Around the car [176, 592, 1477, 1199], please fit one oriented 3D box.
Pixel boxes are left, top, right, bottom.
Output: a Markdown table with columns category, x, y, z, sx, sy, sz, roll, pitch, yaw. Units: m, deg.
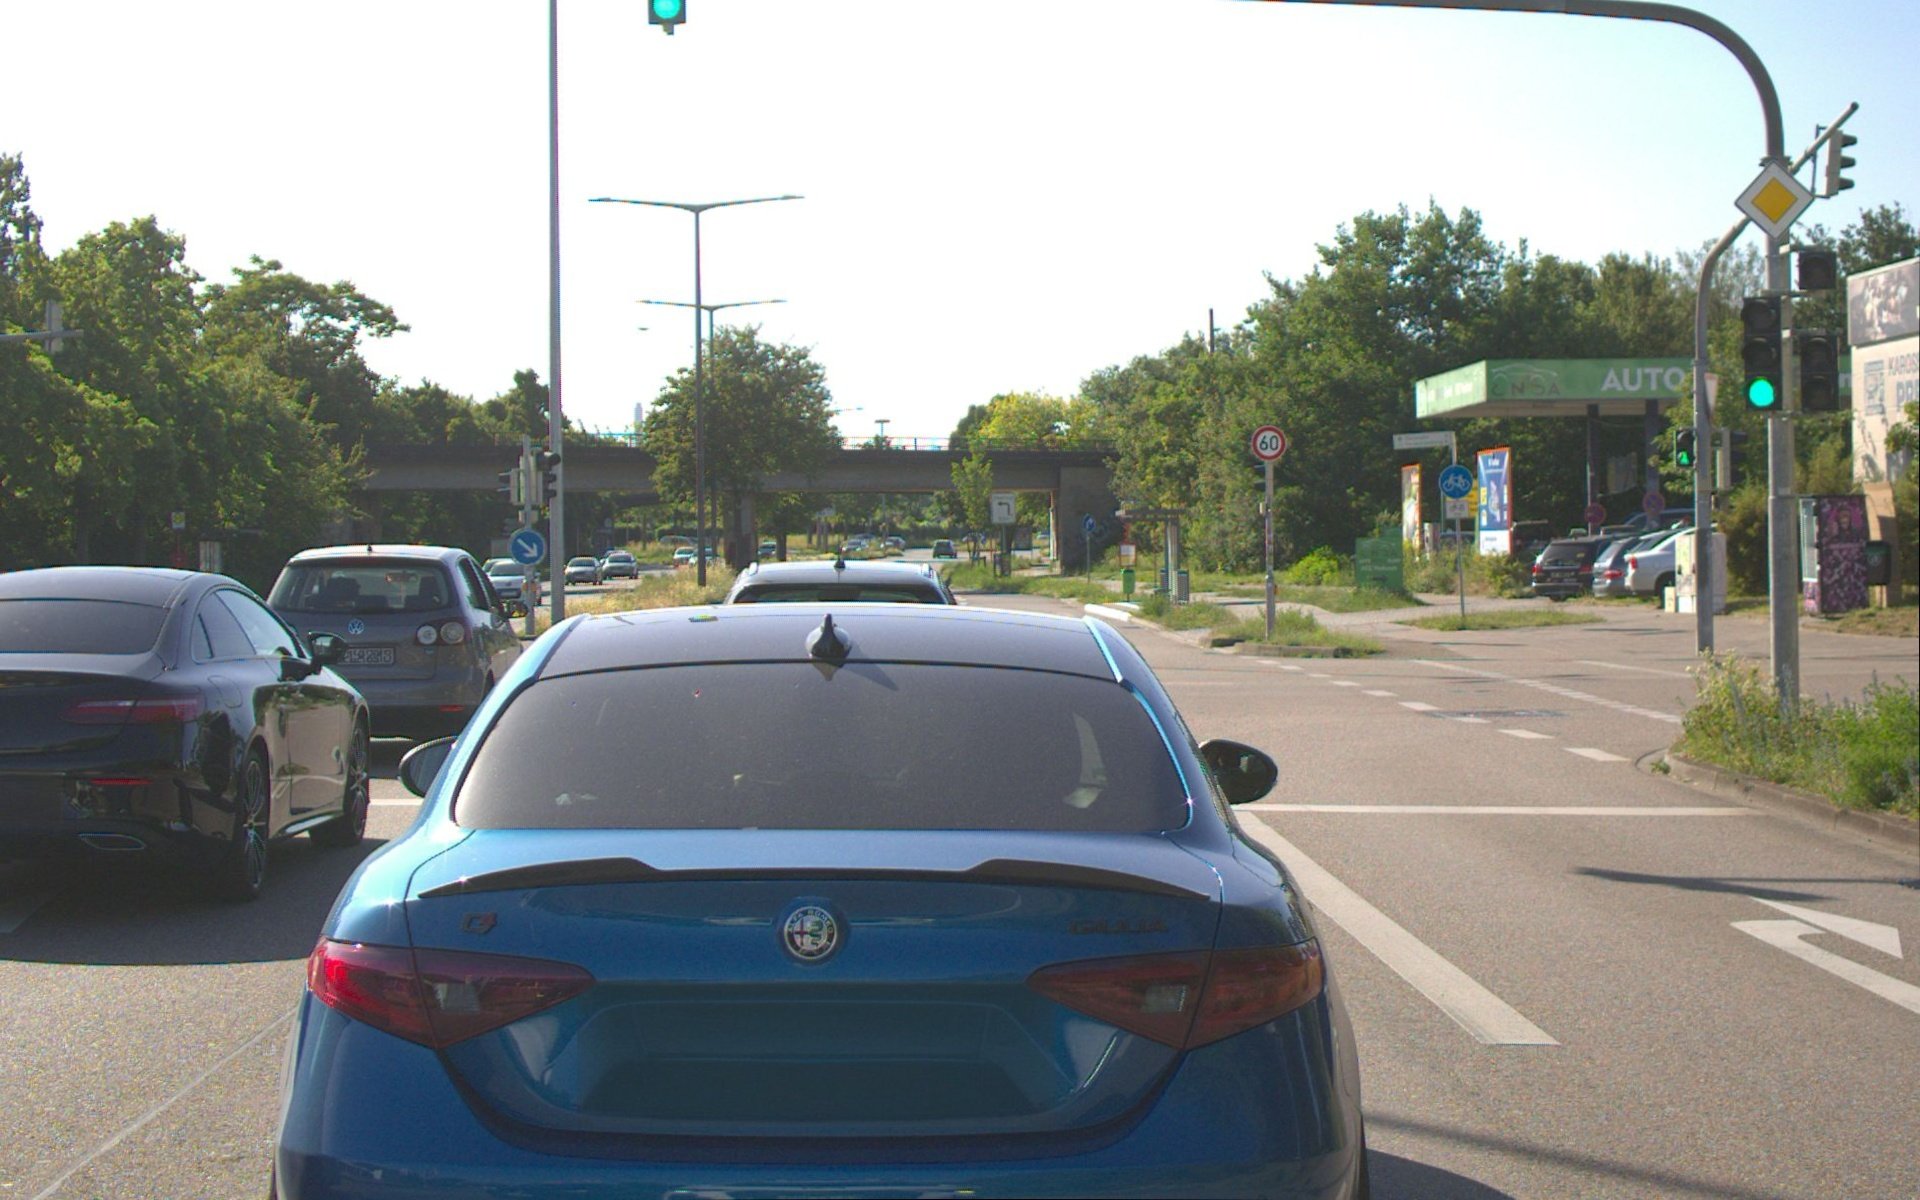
| category | x | y | z | sx | sy | sz | roll | pitch | yaw |
| --- | --- | --- | --- | --- | --- | --- | --- | --- | --- |
| car | -0.257 | 0.707 | 7.245 | 1.895 | 1.413 | 4.403 | 1 | 0 | -2 |

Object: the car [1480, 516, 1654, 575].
| category | x | y | z | sx | sy | sz | roll | pitch | yaw |
| --- | --- | --- | --- | --- | --- | --- | --- | --- | --- |
| car | 17.098 | -1.537 | 96.965 | 4.551 | 1.485 | 1.765 | -2 | 0 | 1 |

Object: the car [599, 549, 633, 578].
| category | x | y | z | sx | sy | sz | roll | pitch | yaw |
| --- | --- | --- | --- | --- | --- | --- | --- | --- | --- |
| car | -19.747 | -2.091 | 197.339 | 1.609 | 1.641 | 3.463 | 1 | 0 | -1 |

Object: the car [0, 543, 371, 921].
| category | x | y | z | sx | sy | sz | roll | pitch | yaw |
| --- | --- | --- | --- | --- | --- | --- | --- | --- | --- |
| car | -3.952 | 0.508 | 15.859 | 1.796 | 1.485 | 4.476 | 1 | 0 | -2 |

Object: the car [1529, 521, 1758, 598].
| category | x | y | z | sx | sy | sz | roll | pitch | yaw |
| --- | --- | --- | --- | --- | --- | --- | --- | --- | --- |
| car | 14.578 | -0.859 | 73.513 | 4.489 | 1.449 | 1.858 | -2 | 0 | 1 |

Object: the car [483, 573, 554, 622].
| category | x | y | z | sx | sy | sz | roll | pitch | yaw |
| --- | --- | --- | --- | --- | --- | --- | --- | --- | --- |
| car | -14.235 | -0.097 | 110.984 | 1.759 | 1.485 | 3.837 | -2 | 0 | 0 |

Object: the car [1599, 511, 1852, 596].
| category | x | y | z | sx | sy | sz | roll | pitch | yaw |
| --- | --- | --- | --- | --- | --- | --- | --- | --- | --- |
| car | 14.858 | -0.897 | 66.889 | 4.489 | 1.449 | 1.858 | -2 | 0 | 1 |

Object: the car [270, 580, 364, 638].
| category | x | y | z | sx | sy | sz | roll | pitch | yaw |
| --- | --- | --- | --- | --- | --- | --- | --- | --- | --- |
| car | -17.900 | 0.229 | 95.823 | 1.759 | 1.485 | 4.478 | -2 | 0 | 0 |

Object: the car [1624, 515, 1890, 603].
| category | x | y | z | sx | sy | sz | roll | pitch | yaw |
| --- | --- | --- | --- | --- | --- | --- | --- | --- | --- |
| car | 14.834 | -0.757 | 64.133 | 4.489 | 1.449 | 1.858 | -2 | 0 | 1 |

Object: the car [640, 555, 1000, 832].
| category | x | y | z | sx | sy | sz | roll | pitch | yaw |
| --- | --- | --- | --- | --- | --- | --- | --- | --- | --- |
| car | -0.788 | 0.479 | 20.087 | 1.850 | 1.413 | 4.403 | 1 | 0 | -2 |

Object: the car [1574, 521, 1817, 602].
| category | x | y | z | sx | sy | sz | roll | pitch | yaw |
| --- | --- | --- | --- | --- | --- | --- | --- | --- | --- |
| car | 14.890 | -0.776 | 69.761 | 4.489 | 1.449 | 1.858 | -2 | 0 | 1 |

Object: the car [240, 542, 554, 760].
| category | x | y | z | sx | sy | sz | roll | pitch | yaw |
| --- | --- | --- | --- | --- | --- | --- | --- | --- | --- |
| car | -4.166 | 0.345 | 26.053 | 1.759 | 1.485 | 4.403 | 1 | 0 | -2 |

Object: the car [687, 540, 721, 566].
| category | x | y | z | sx | sy | sz | roll | pitch | yaw |
| --- | --- | --- | --- | --- | --- | --- | --- | --- | --- |
| car | -15.925 | -2.918 | 213.896 | 1.759 | 1.485 | 4.478 | -2 | 0 | 0 |

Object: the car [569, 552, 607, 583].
| category | x | y | z | sx | sy | sz | roll | pitch | yaw |
| --- | --- | --- | --- | --- | --- | --- | --- | --- | --- |
| car | -19.207 | -1.680 | 177.764 | 1.615 | 1.554 | 3.358 | 1 | 0 | -1 |
